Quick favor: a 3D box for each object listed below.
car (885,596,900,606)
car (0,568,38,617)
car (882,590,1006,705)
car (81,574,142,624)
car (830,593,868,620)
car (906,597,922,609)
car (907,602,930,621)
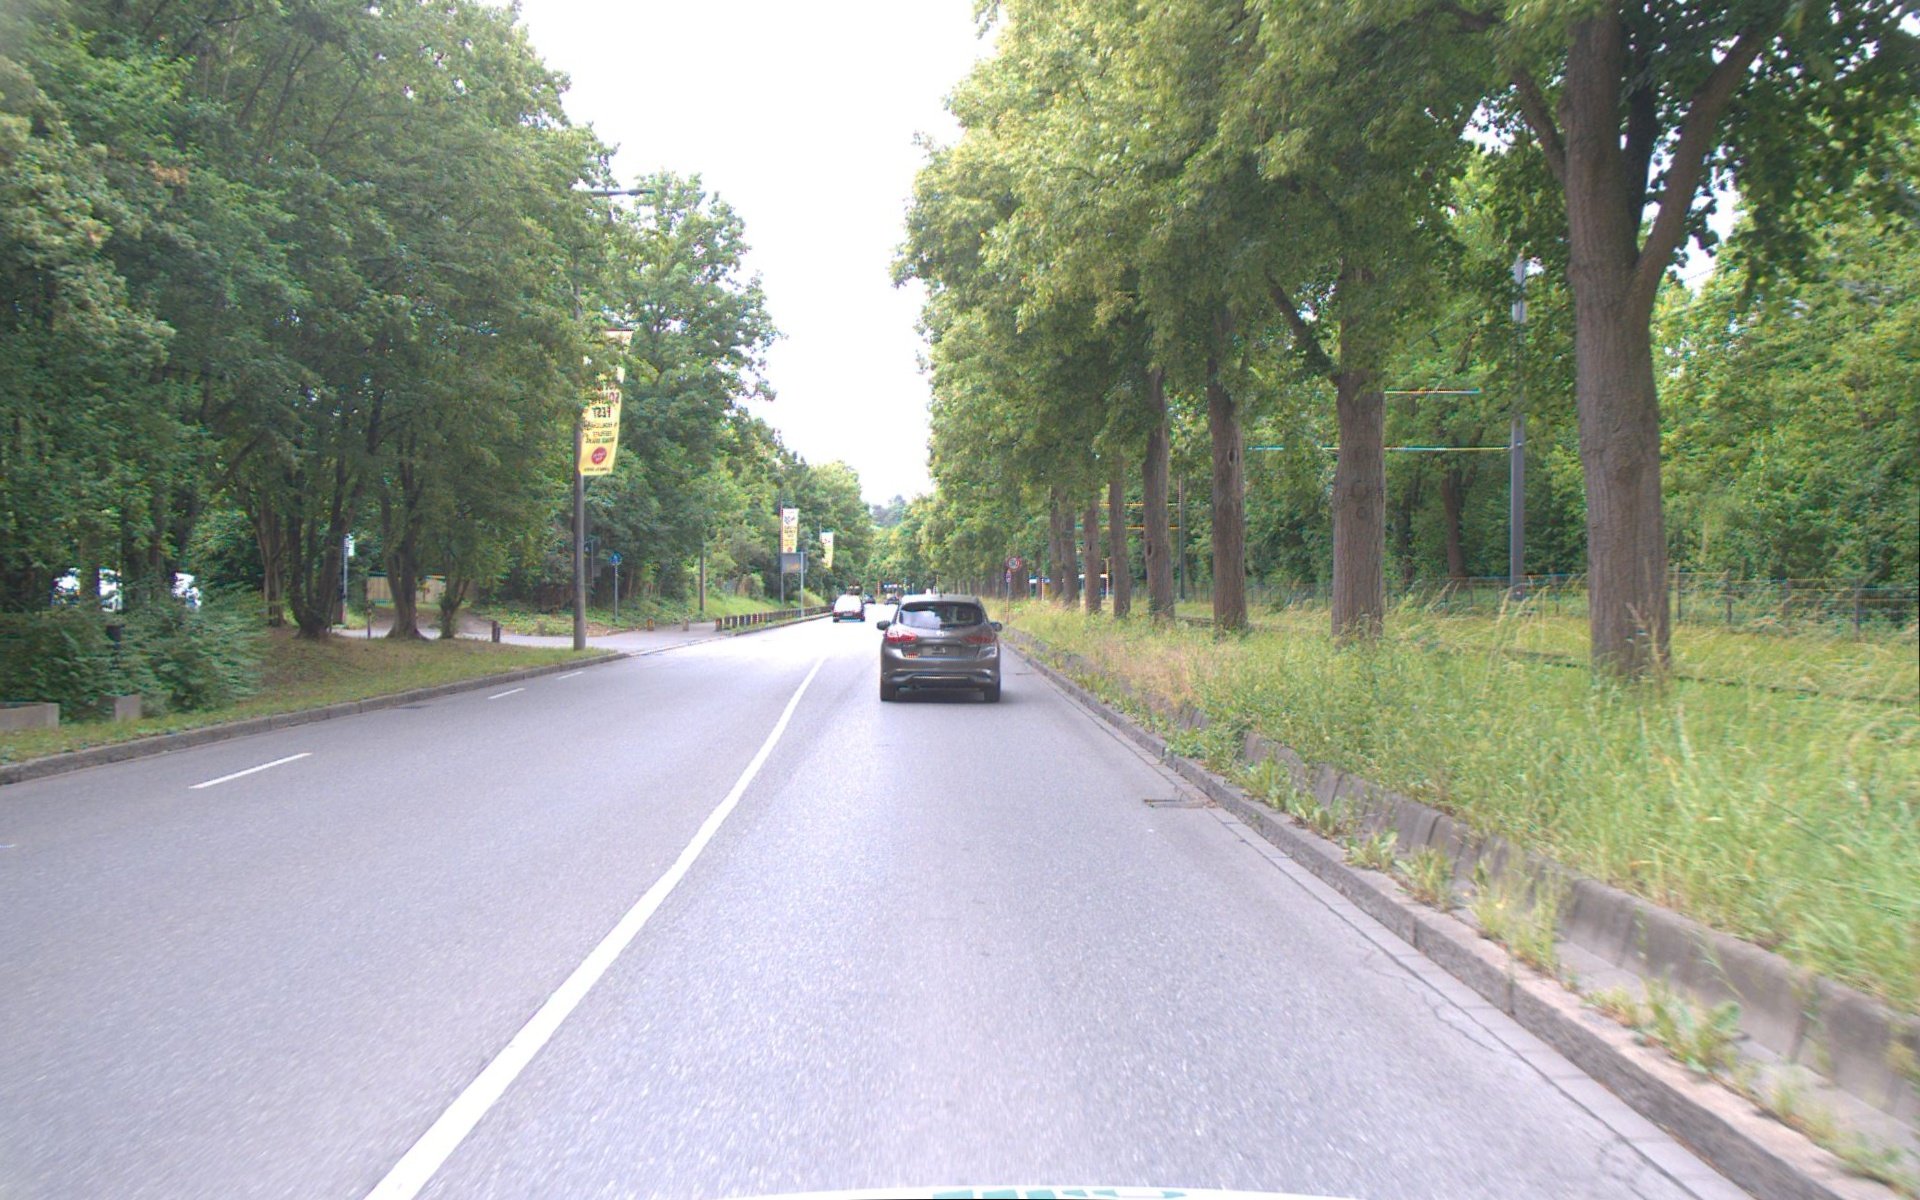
[{"bbox_3d":[-9.805,0.169,241.165,1.535,1.466,3.539,1,0,-14],"label":"car"},{"bbox_3d":[-28.750,-0.245,49.722,1.352,1.426,3.050,3,-1,-22],"label":"car"},{"bbox_3d":[-0.273,0.665,24.767,1.695,1.564,3.550,1,0,-2],"label":"car"},{"bbox_3d":[-26.186,-0.031,51.123,1.352,1.426,3.050,3,-1,-22],"label":"car"},{"bbox_3d":[-6.266,0.370,94.051,1.680,1.453,4.198,-1,0,2],"label":"car"},{"bbox_3d":[-5.893,0.424,211.090,1.533,1.466,3.542,1,0,-11],"label":"car"},{"bbox_3d":[-3.302,0.883,131.617,1.529,1.466,3.553,1,0,3],"label":"car"}]
